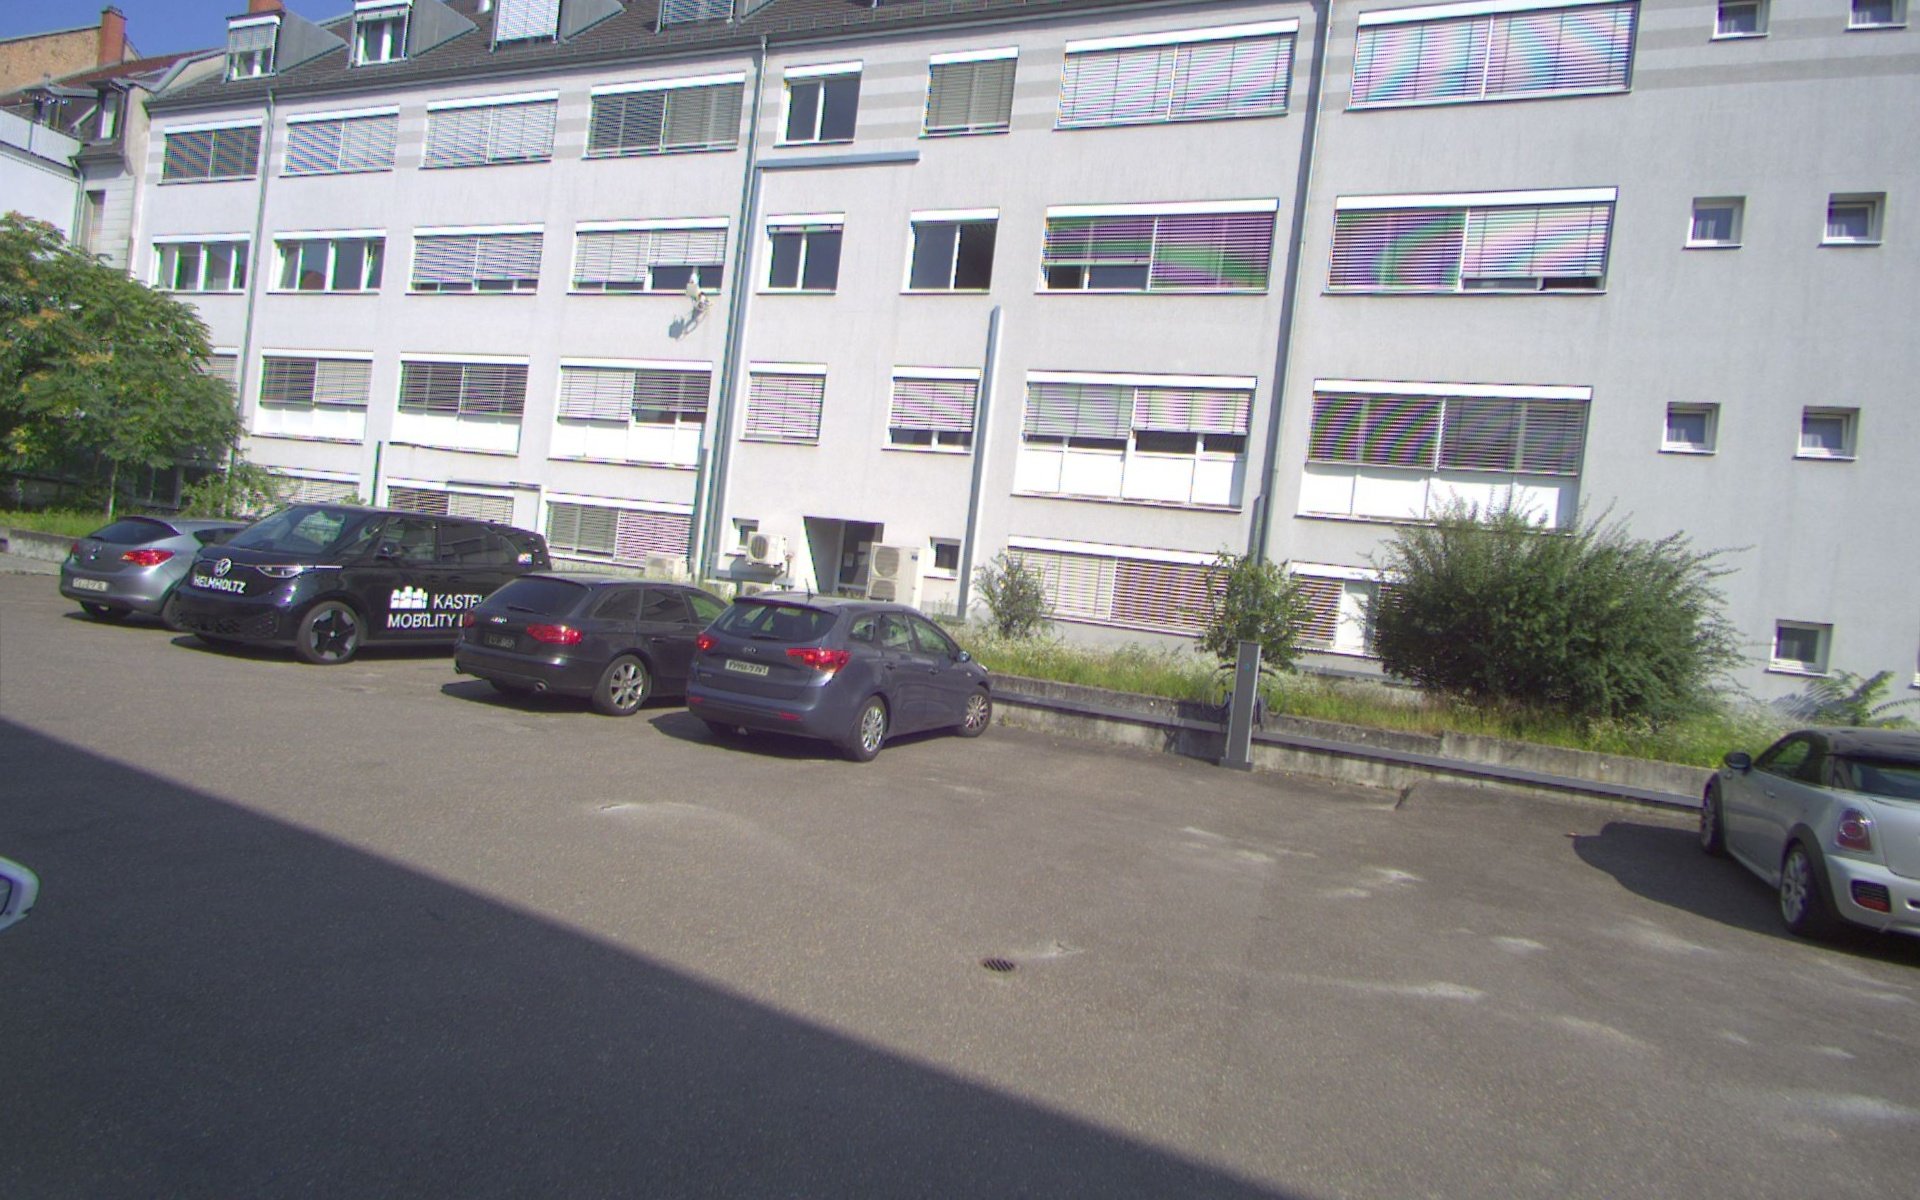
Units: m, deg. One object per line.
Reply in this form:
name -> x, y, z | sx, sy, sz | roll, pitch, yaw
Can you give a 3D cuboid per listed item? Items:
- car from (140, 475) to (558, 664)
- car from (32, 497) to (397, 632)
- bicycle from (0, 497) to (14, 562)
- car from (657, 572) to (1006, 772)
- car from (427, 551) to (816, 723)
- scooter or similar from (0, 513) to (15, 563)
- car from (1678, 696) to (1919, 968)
car -> -7.600, -0.280, 13.118 | 1.879, 1.882, 4.349 | 7, 0, 18
car -> -10.256, -0.391, 14.248 | 1.631, 1.484, 3.910 | 7, 0, 14
bicycle -> -19.556, -1.496, 18.953 | 0.517, 1.261, 2.417 | 7, -1, 27
car -> -1.089, 0.692, 10.608 | 1.710, 1.496, 4.057 | 7, 0, 23
car -> -3.621, 0.444, 11.642 | 1.660, 1.455, 4.242 | 7, 0, 26
scooter or similar -> -18.924, -1.255, 19.335 | 0.983, 0.935, 0.359 | 7, 0, -10
car -> 6.898, 1.631, 7.571 | 1.629, 1.455, 3.578 | 7, 0, 25
